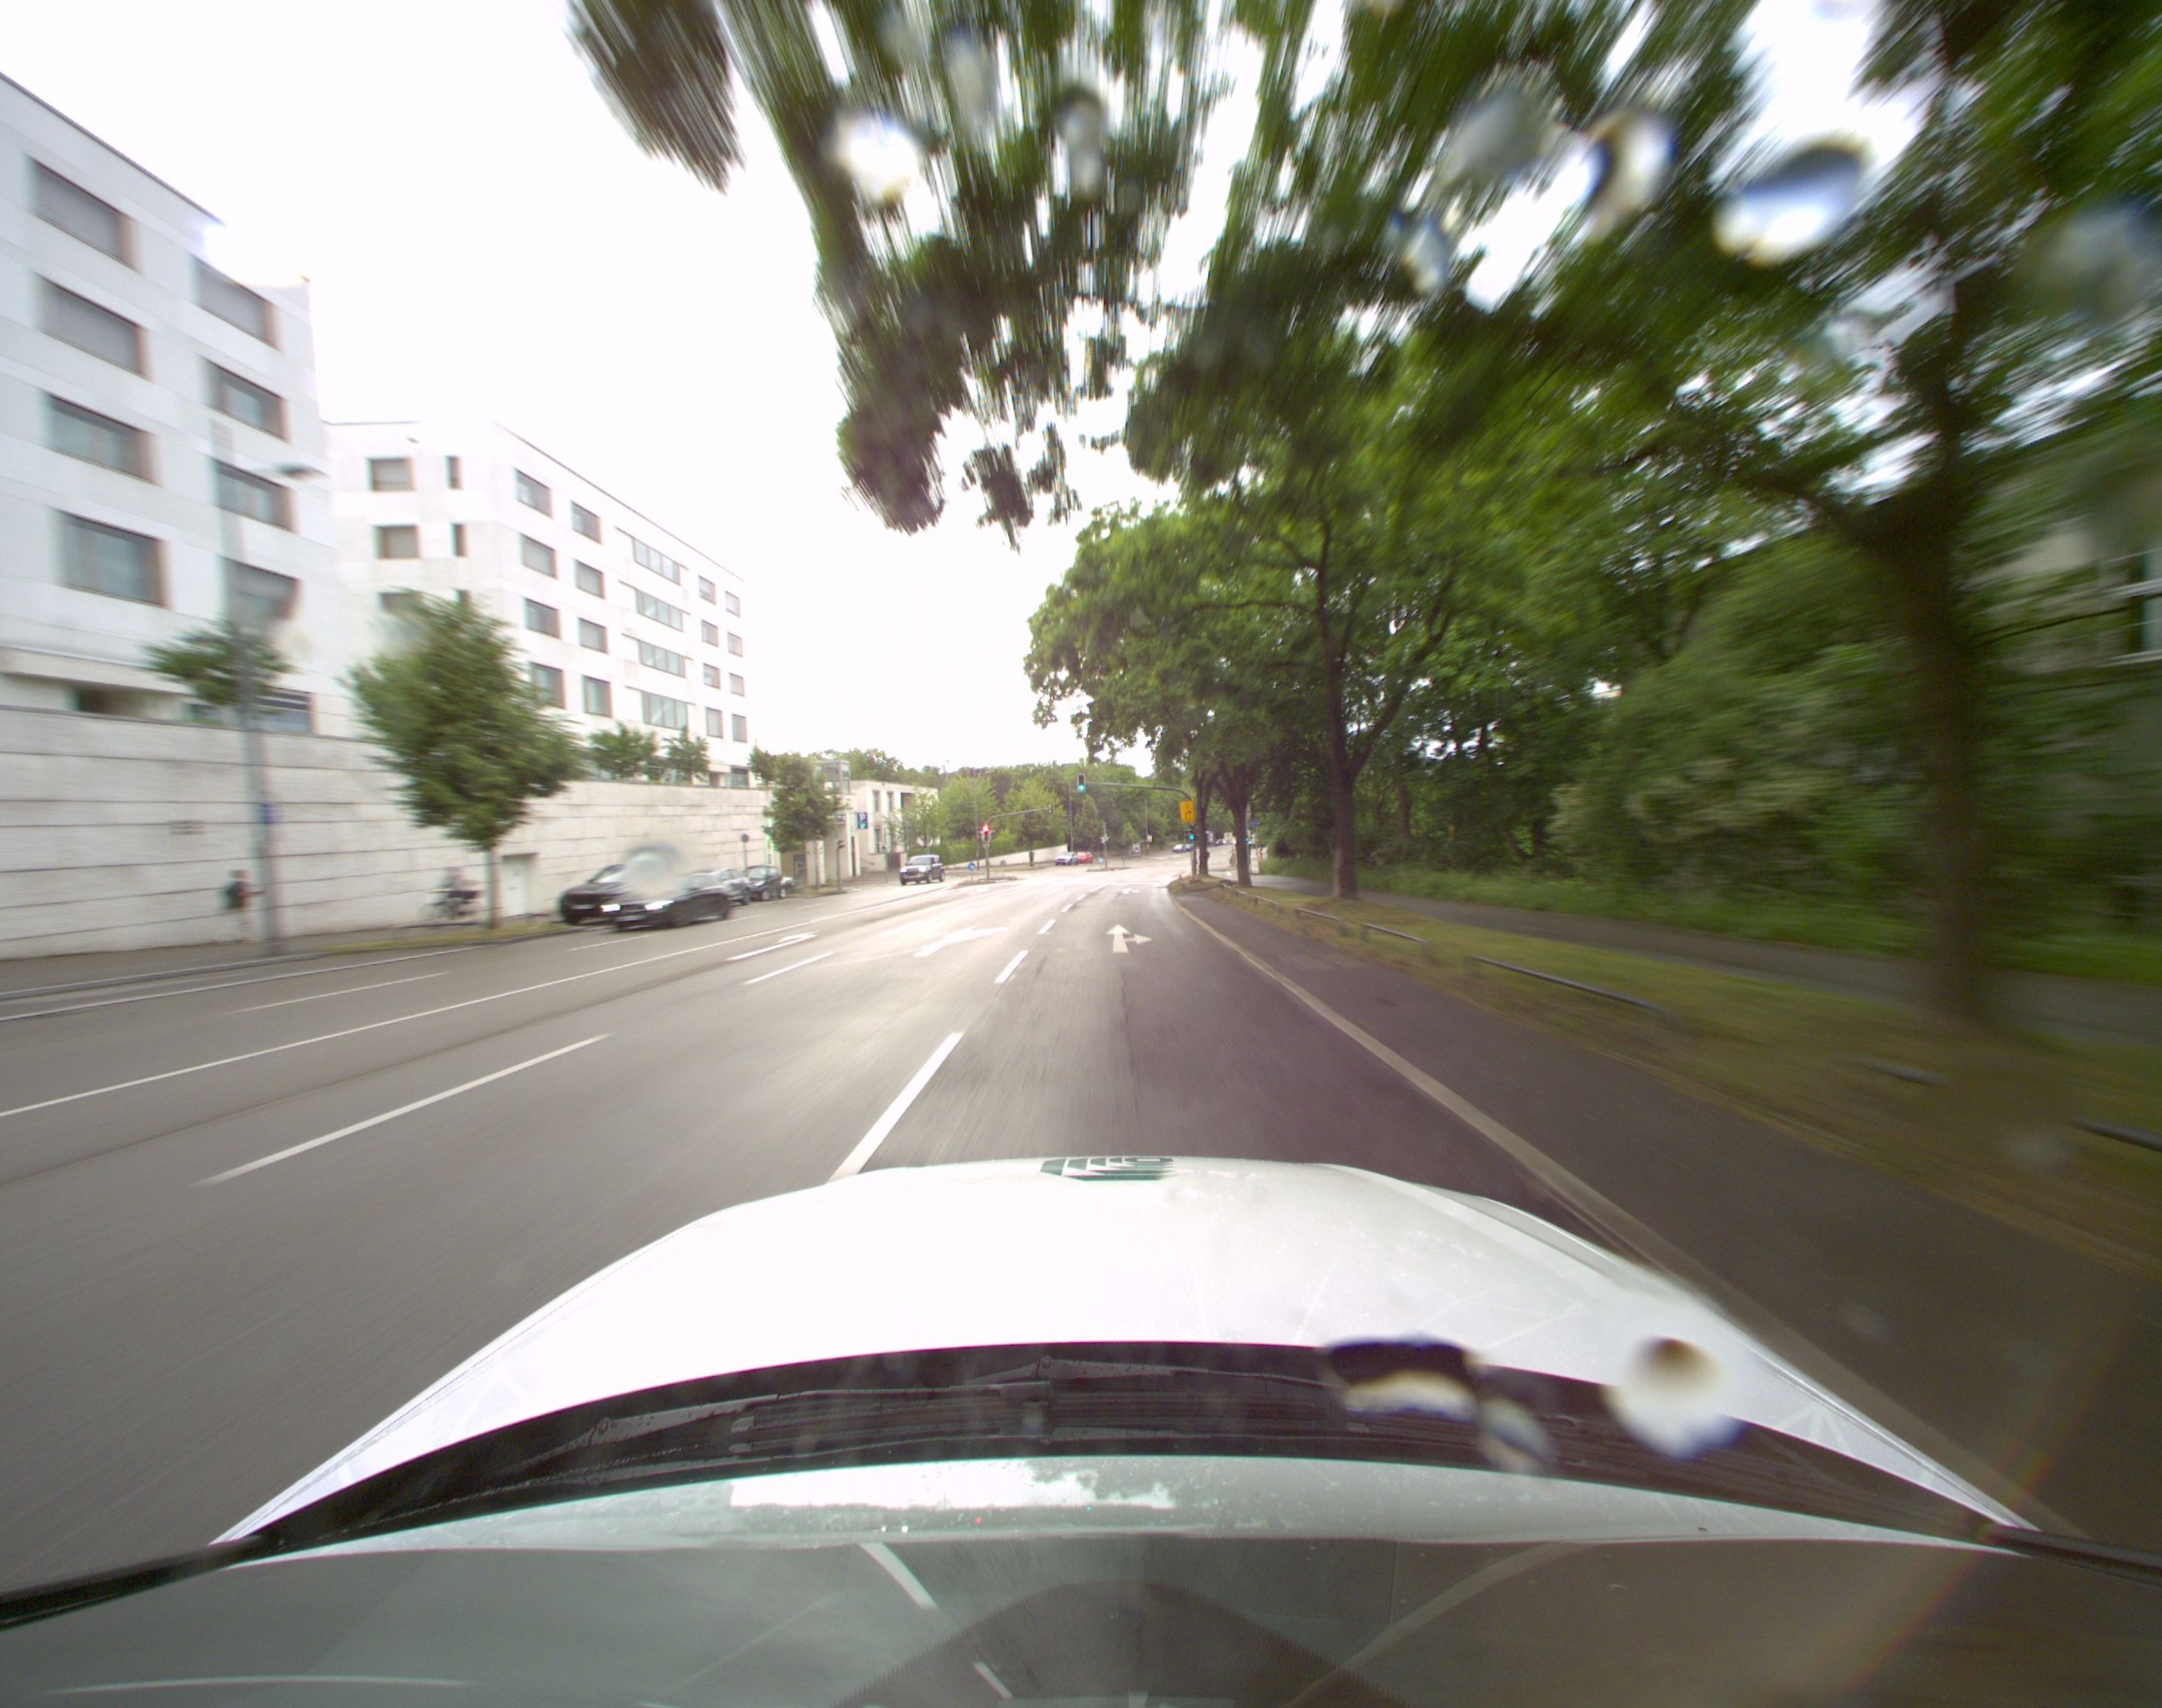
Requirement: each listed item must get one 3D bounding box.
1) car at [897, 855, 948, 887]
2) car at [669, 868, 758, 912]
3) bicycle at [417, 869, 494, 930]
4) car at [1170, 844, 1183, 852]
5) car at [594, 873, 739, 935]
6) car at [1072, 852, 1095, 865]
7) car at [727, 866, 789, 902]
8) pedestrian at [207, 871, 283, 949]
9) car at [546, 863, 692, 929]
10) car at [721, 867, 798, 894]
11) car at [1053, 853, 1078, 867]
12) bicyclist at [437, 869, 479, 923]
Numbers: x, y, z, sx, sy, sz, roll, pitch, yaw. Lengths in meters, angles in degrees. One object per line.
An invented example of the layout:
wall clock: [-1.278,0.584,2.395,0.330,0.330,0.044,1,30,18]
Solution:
car: [-10.587,1.090,54.795,1.911,1.857,4.514,-6,0,6]
car: [-14.216,1.347,31.699,1.673,1.515,3.711,-1,0,1]
bicycle: [-18.185,1.297,23.722,0.740,1.657,1.881,-1,0,2]
car: [18.652,-1.236,159.479,1.698,1.460,3.769,-1,0,20]
car: [-11.437,1.326,22.840,1.764,1.381,4.191,-4,0,1]
car: [0.322,0.590,107.843,1.860,1.575,4.241,1,1,17]
car: [-14.621,1.319,36.972,1.502,1.515,2.982,-1,0,2]
pedestrian: [-20.221,1.334,19.725,0.705,1.774,1.021,-2,0,1]
car: [-14.245,1.221,25.481,1.850,1.781,4.597,-1,0,1]
car: [-22.234,1.825,56.448,4.487,1.672,1.927,-3,0,0]
car: [-1.858,0.738,100.878,1.838,1.639,4.113,1,1,18]
bicyclist: [-18.176,1.220,23.759,0.574,1.518,0.769,-2,0,2]
